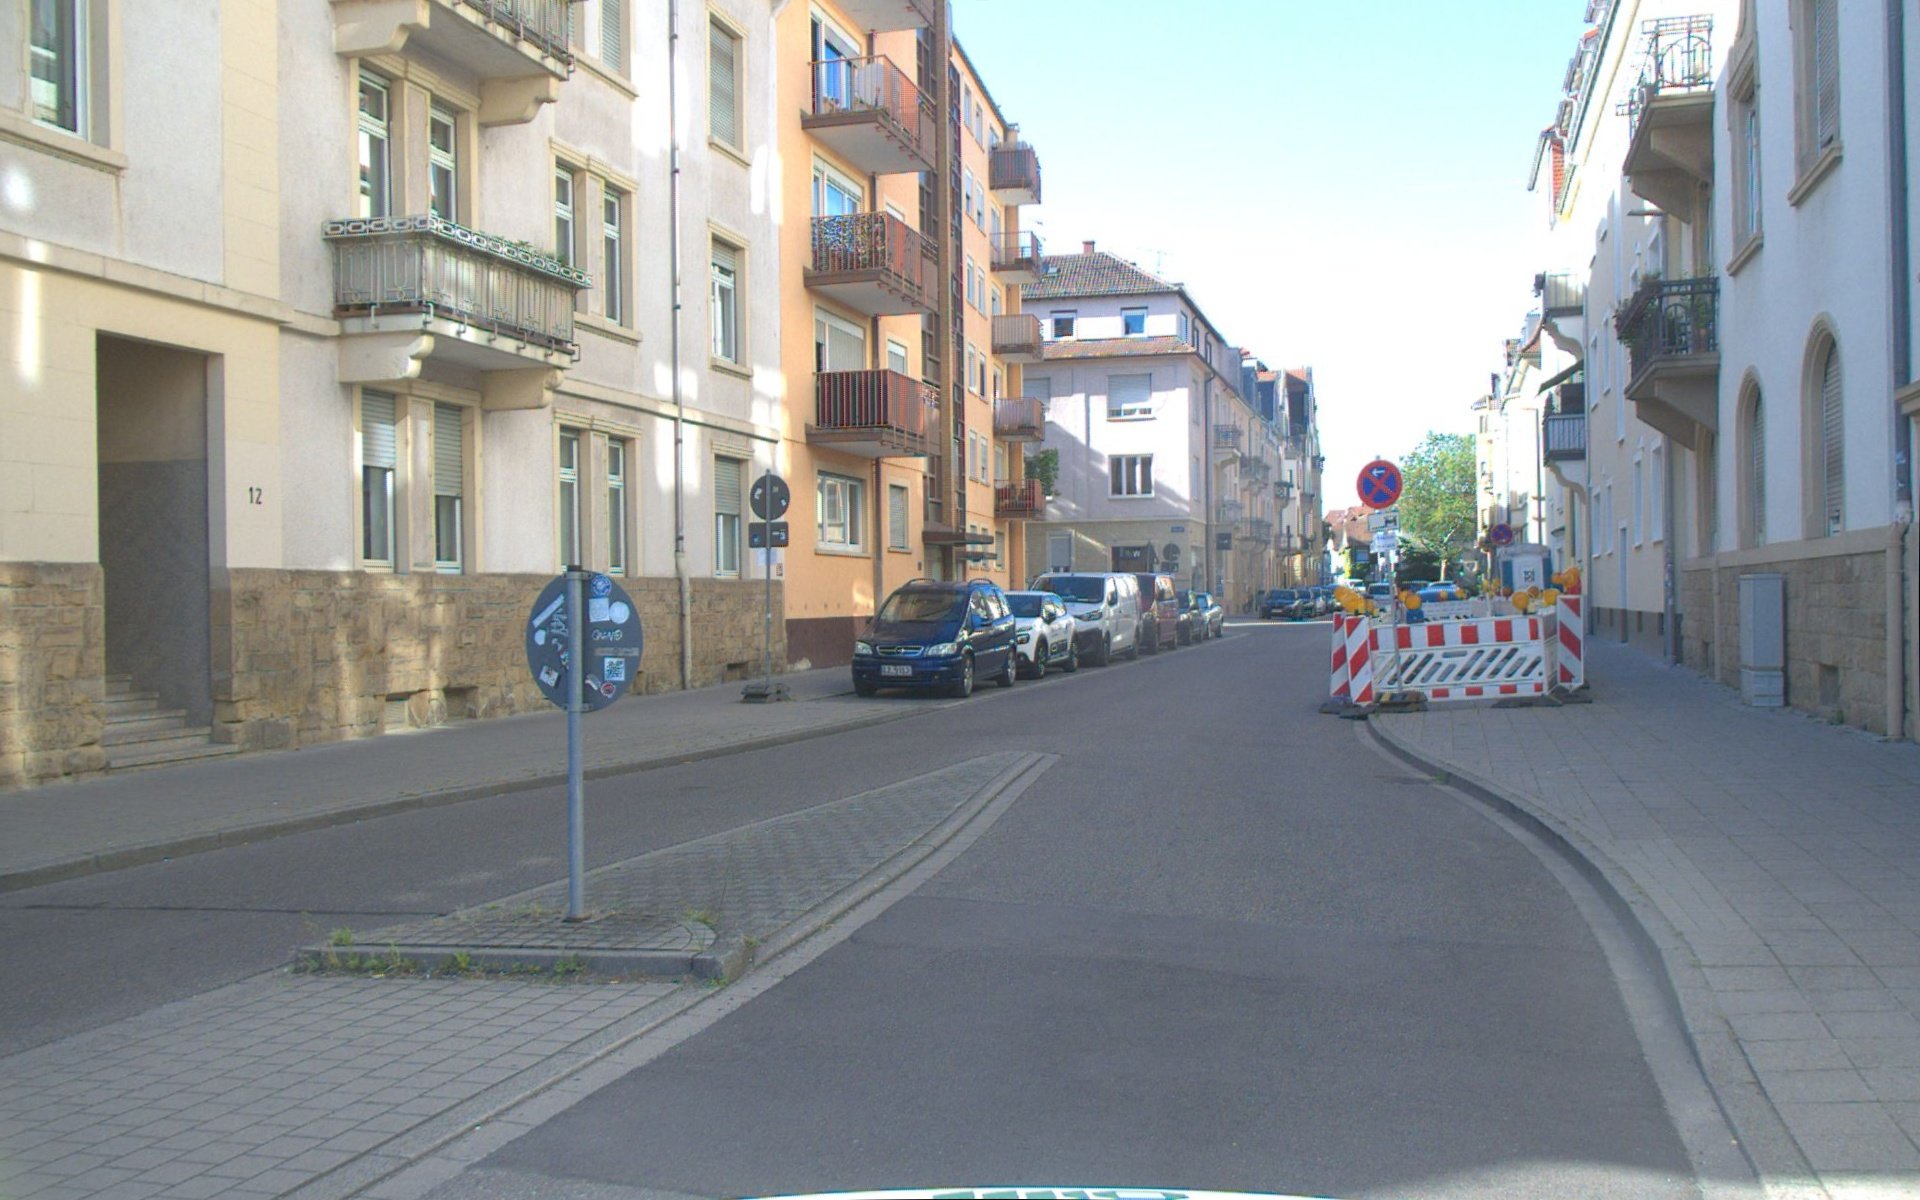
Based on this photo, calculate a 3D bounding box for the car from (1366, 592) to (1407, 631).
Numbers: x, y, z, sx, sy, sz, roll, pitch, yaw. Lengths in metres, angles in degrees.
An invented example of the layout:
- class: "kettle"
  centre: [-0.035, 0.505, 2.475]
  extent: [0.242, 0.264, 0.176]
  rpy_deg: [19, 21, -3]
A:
- class: "car"
  centre: [22.632, 0.621, 87.704]
  extent: [1.961, 1.947, 4.490]
  rpy_deg: [1, 0, 16]

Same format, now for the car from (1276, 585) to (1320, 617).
- class: "car"
  centre: [18.140, 0.085, 88.595]
  extent: [1.961, 1.610, 4.490]
  rpy_deg: [1, 0, 15]

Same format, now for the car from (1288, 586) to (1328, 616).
- class: "car"
  centre: [20.063, 0.046, 95.263]
  extent: [1.961, 1.647, 4.490]
  rpy_deg: [1, 0, 15]

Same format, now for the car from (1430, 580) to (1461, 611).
- class: "car"
  centre: [30.375, -0.252, 103.476]
  extent: [1.800, 1.818, 4.030]
  rpy_deg: [-1, -2, 17]

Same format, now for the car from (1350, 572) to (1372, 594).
- class: "car"
  centre: [40.991, -1.728, 169.101]
  extent: [1.961, 2.035, 4.490]
  rpy_deg: [1, 0, 15]

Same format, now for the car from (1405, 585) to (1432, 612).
- class: "car"
  centre: [35.701, -0.087, 128.836]
  extent: [1.961, 2.035, 4.490]
  rpy_deg: [1, 0, 15]

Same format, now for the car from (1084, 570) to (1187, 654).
- class: "car"
  centre: [4.434, 0.261, 41.121]
  extent: [1.725, 1.959, 4.938]
  rpy_deg: [0, 0, 16]

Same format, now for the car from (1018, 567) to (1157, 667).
- class: "car"
  centre: [2.816, 0.321, 35.177]
  extent: [1.933, 1.959, 5.313]
  rpy_deg: [0, 0, 16]

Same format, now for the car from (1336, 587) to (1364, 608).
- class: "car"
  centre: [31.481, -0.194, 133.372]
  extent: [1.961, 1.633, 4.490]
  rpy_deg: [1, 0, 15]

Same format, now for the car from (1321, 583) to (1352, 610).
- class: "car"
  centre: [27.129, -0.250, 118.983]
  extent: [1.961, 1.819, 4.490]
  rpy_deg: [1, 0, 15]

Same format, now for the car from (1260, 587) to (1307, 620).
- class: "car"
  centre: [15.292, 0.183, 78.130]
  extent: [1.644, 1.451, 4.276]
  rpy_deg: [1, 0, 18]

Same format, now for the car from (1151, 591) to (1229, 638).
- class: "car"
  centre: [7.214, 0.414, 51.494]
  extent: [1.725, 1.401, 4.481]
  rpy_deg: [0, 0, 17]

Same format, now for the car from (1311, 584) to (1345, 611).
- class: "car"
  centre: [24.133, -0.137, 108.411]
  extent: [1.961, 1.647, 4.490]
  rpy_deg: [1, 0, 15]

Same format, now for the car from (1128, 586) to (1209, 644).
- class: "car"
  centre: [5.932, 0.405, 46.673]
  extent: [1.725, 1.529, 4.003]
  rpy_deg: [-2, 0, 15]

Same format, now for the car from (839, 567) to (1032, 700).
- class: "car"
  centre: [-0.265, 0.444, 24.748]
  extent: [1.725, 1.802, 4.297]
  rpy_deg: [0, 0, 16]

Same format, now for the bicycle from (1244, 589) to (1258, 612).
- class: "bicycle"
  centre: [16.579, 0.037, 94.268]
  extent: [0.529, 1.324, 1.867]
  rpy_deg: [0, 0, 17]

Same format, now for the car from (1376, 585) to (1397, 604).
- class: "car"
  centre: [43.304, -0.534, 167.784]
  extent: [1.961, 1.849, 4.490]
  rpy_deg: [1, 0, 15]

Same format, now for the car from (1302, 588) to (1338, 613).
- class: "car"
  centre: [22.636, 0.024, 103.896]
  extent: [1.937, 1.508, 4.331]
  rpy_deg: [1, 0, 15]

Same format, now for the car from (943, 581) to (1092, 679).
- class: "car"
  centre: [1.119, 0.490, 30.052]
  extent: [1.725, 1.649, 4.298]
  rpy_deg: [0, 0, 16]

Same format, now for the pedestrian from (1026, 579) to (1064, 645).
- class: "pedestrian"
  centre: [2.394, 0.332, 46.469]
  extent: [0.904, 1.849, 0.995]
  rpy_deg: [0, 0, 13]
